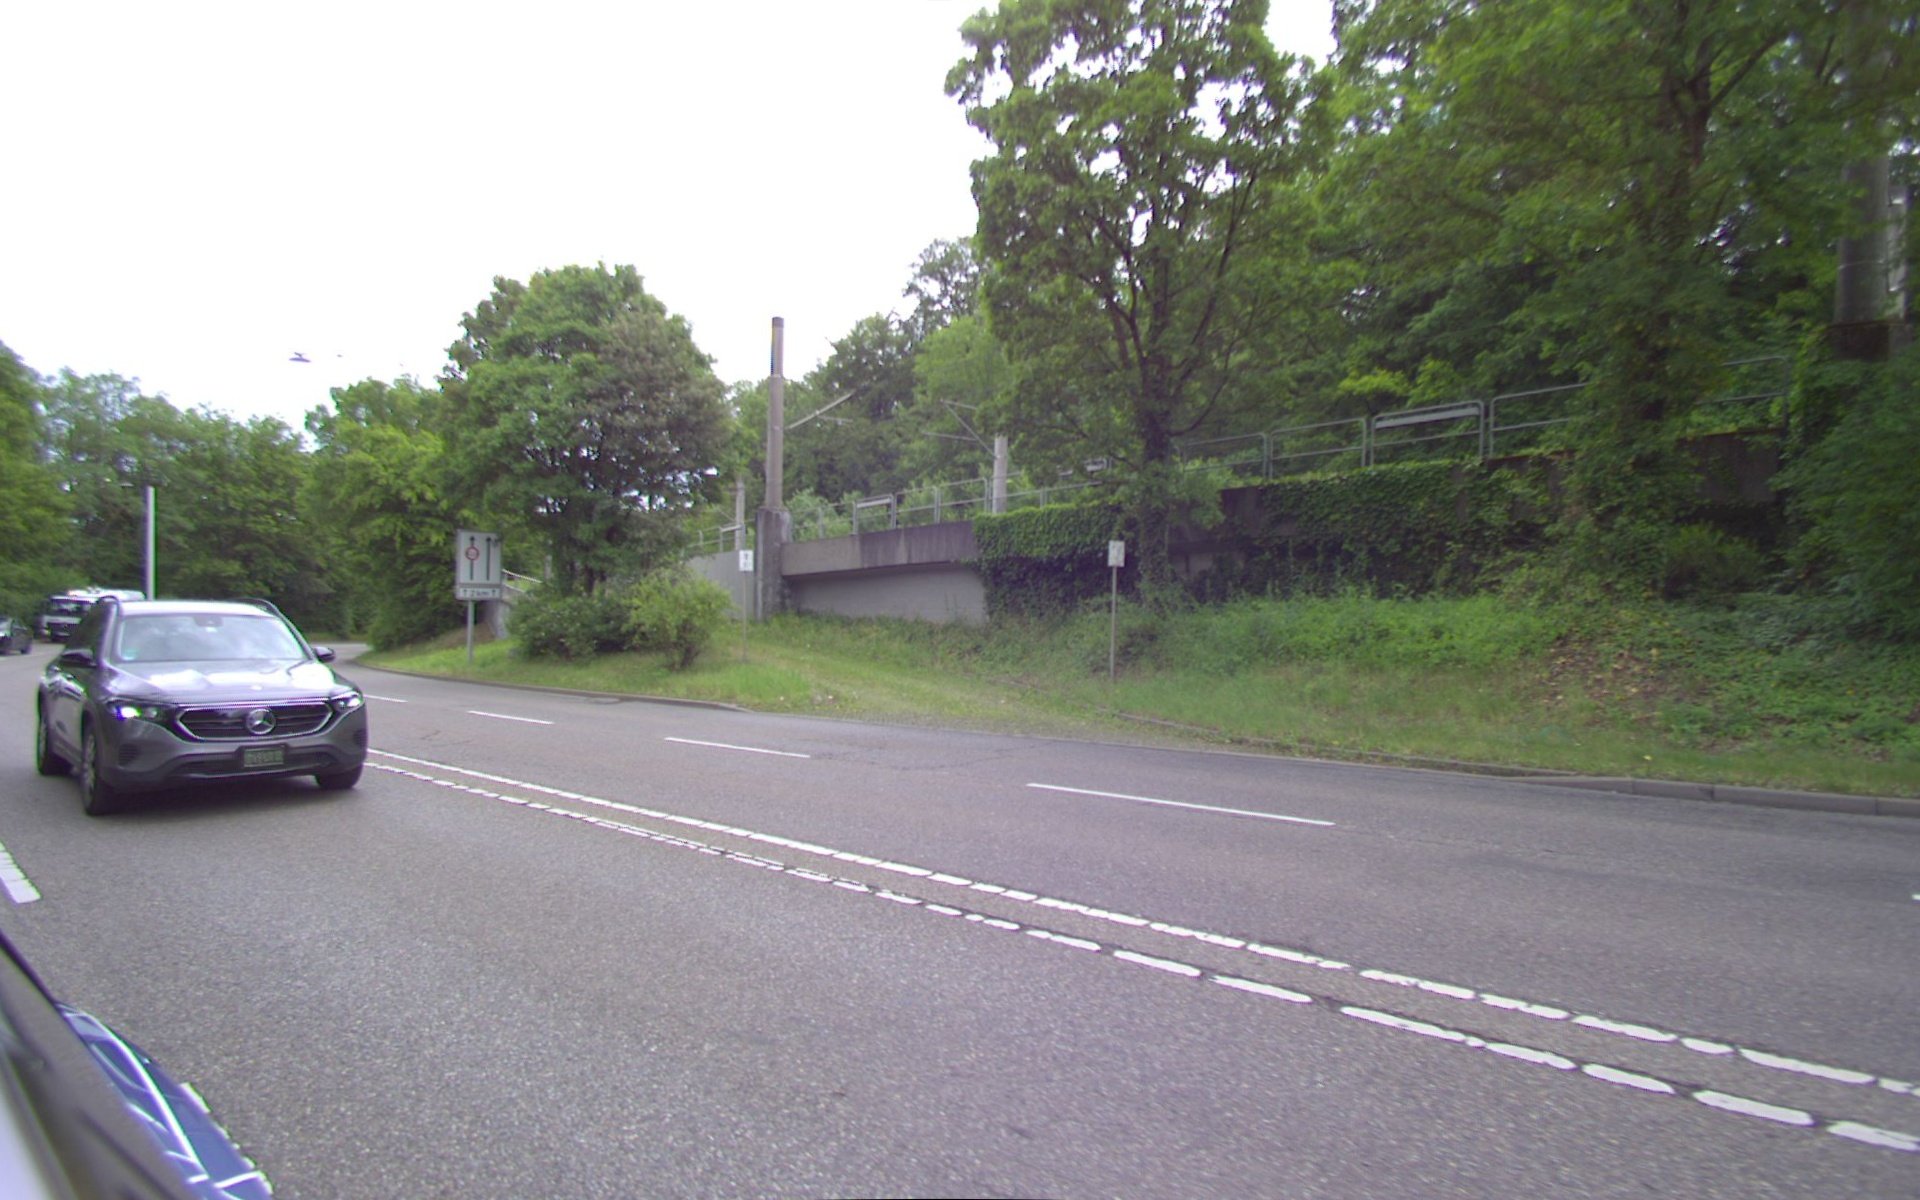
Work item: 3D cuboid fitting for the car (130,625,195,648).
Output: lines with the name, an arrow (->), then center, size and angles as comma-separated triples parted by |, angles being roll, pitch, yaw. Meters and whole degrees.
car -> -52.388, 2.412, 66.556 | 1.728, 1.372, 4.020 | 3, -3, -12

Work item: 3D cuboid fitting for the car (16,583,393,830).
car -> -6.845, 0.786, 8.984 | 4.356, 1.664, 1.830 | -2, -3, 42

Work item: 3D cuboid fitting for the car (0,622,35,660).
car -> -37.943, 1.558, 39.502 | 1.726, 1.436, 4.023 | 4, -4, -29

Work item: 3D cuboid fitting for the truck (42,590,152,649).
truck -> -49.515, 1.191, 58.269 | 2.164, 3.180, 6.670 | 1, -3, -16

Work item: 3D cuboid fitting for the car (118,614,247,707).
car -> -15.568, 1.163, 20.286 | 1.825, 1.664, 4.366 | 2, -3, -38
